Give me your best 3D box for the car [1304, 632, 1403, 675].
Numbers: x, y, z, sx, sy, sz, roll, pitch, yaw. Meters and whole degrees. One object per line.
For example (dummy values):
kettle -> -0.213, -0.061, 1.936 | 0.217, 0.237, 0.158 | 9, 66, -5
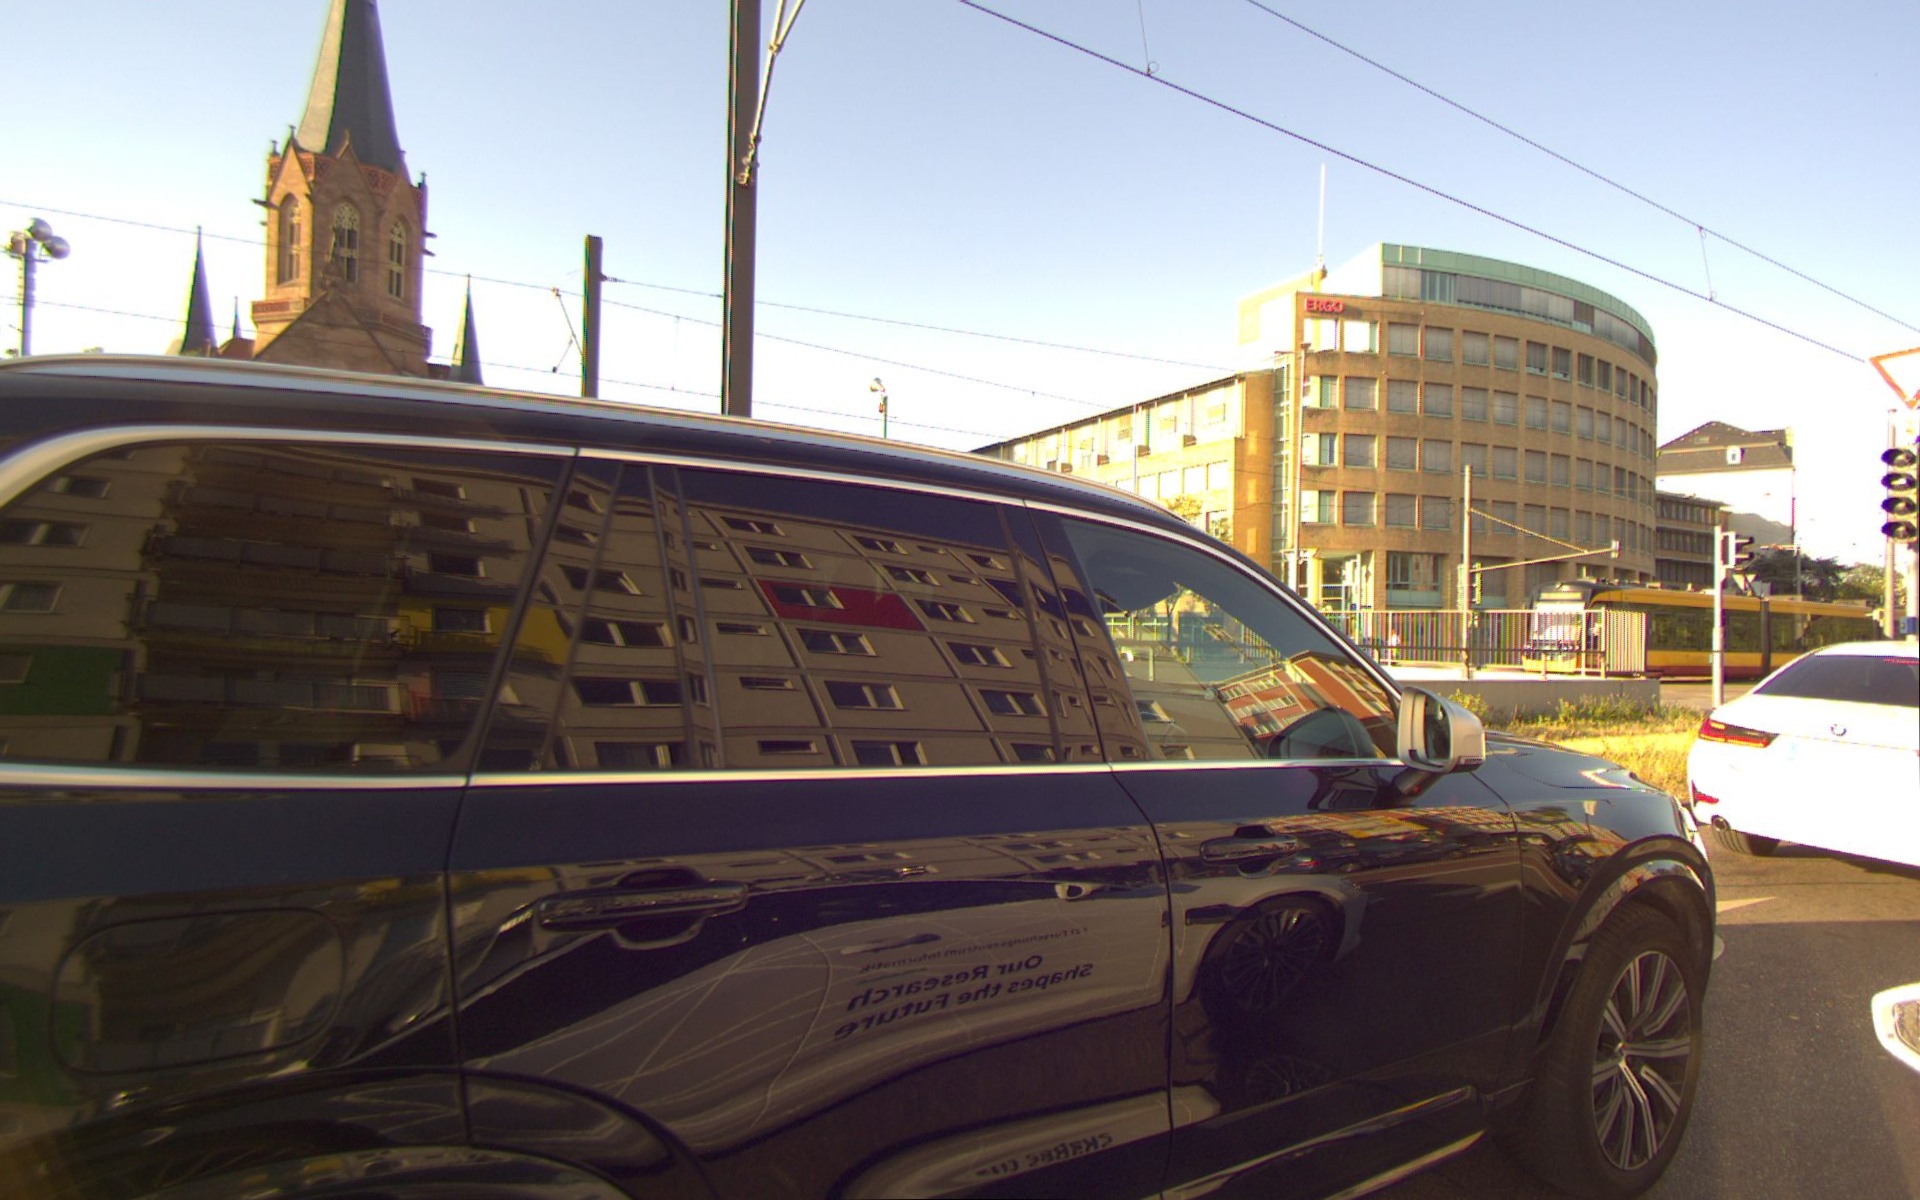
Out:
car -> 15.362, 2.078, 39.227 | 3.629, 1.561, 1.703 | 2, -1, -29

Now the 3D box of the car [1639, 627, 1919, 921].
car -> 6.661, 0.977, 6.580 | 4.529, 1.419, 1.829 | 2, 1, -30

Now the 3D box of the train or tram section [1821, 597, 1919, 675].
train or tram section -> 46.690, 1.808, 49.894 | 10.448, 3.582, 2.760 | 2, -1, -31

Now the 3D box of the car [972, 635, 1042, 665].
car -> 2.420, 2.610, 52.577 | 1.880, 1.439, 3.970 | 2, -2, -29

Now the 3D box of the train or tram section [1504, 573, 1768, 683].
train or tram section -> 25.331, 1.112, 37.225 | 13.098, 3.582, 2.760 | 2, -1, -31

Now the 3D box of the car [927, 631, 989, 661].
car -> -0.151, 2.609, 57.201 | 1.804, 1.606, 3.969 | 2, -2, -29

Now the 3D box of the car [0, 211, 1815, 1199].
car -> -0.104, 0.560, 2.442 | 4.798, 1.735, 1.940 | 2, 1, -32

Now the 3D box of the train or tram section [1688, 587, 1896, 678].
train or tram section -> 36.577, 1.485, 43.882 | 13.098, 3.582, 2.760 | 2, -1, -31

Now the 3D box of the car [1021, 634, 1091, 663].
car -> 5.130, 2.573, 54.192 | 1.880, 1.439, 3.970 | 2, -2, -29

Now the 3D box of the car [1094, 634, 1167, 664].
car -> 8.927, 2.574, 52.971 | 1.877, 1.439, 3.974 | 2, -2, -26
